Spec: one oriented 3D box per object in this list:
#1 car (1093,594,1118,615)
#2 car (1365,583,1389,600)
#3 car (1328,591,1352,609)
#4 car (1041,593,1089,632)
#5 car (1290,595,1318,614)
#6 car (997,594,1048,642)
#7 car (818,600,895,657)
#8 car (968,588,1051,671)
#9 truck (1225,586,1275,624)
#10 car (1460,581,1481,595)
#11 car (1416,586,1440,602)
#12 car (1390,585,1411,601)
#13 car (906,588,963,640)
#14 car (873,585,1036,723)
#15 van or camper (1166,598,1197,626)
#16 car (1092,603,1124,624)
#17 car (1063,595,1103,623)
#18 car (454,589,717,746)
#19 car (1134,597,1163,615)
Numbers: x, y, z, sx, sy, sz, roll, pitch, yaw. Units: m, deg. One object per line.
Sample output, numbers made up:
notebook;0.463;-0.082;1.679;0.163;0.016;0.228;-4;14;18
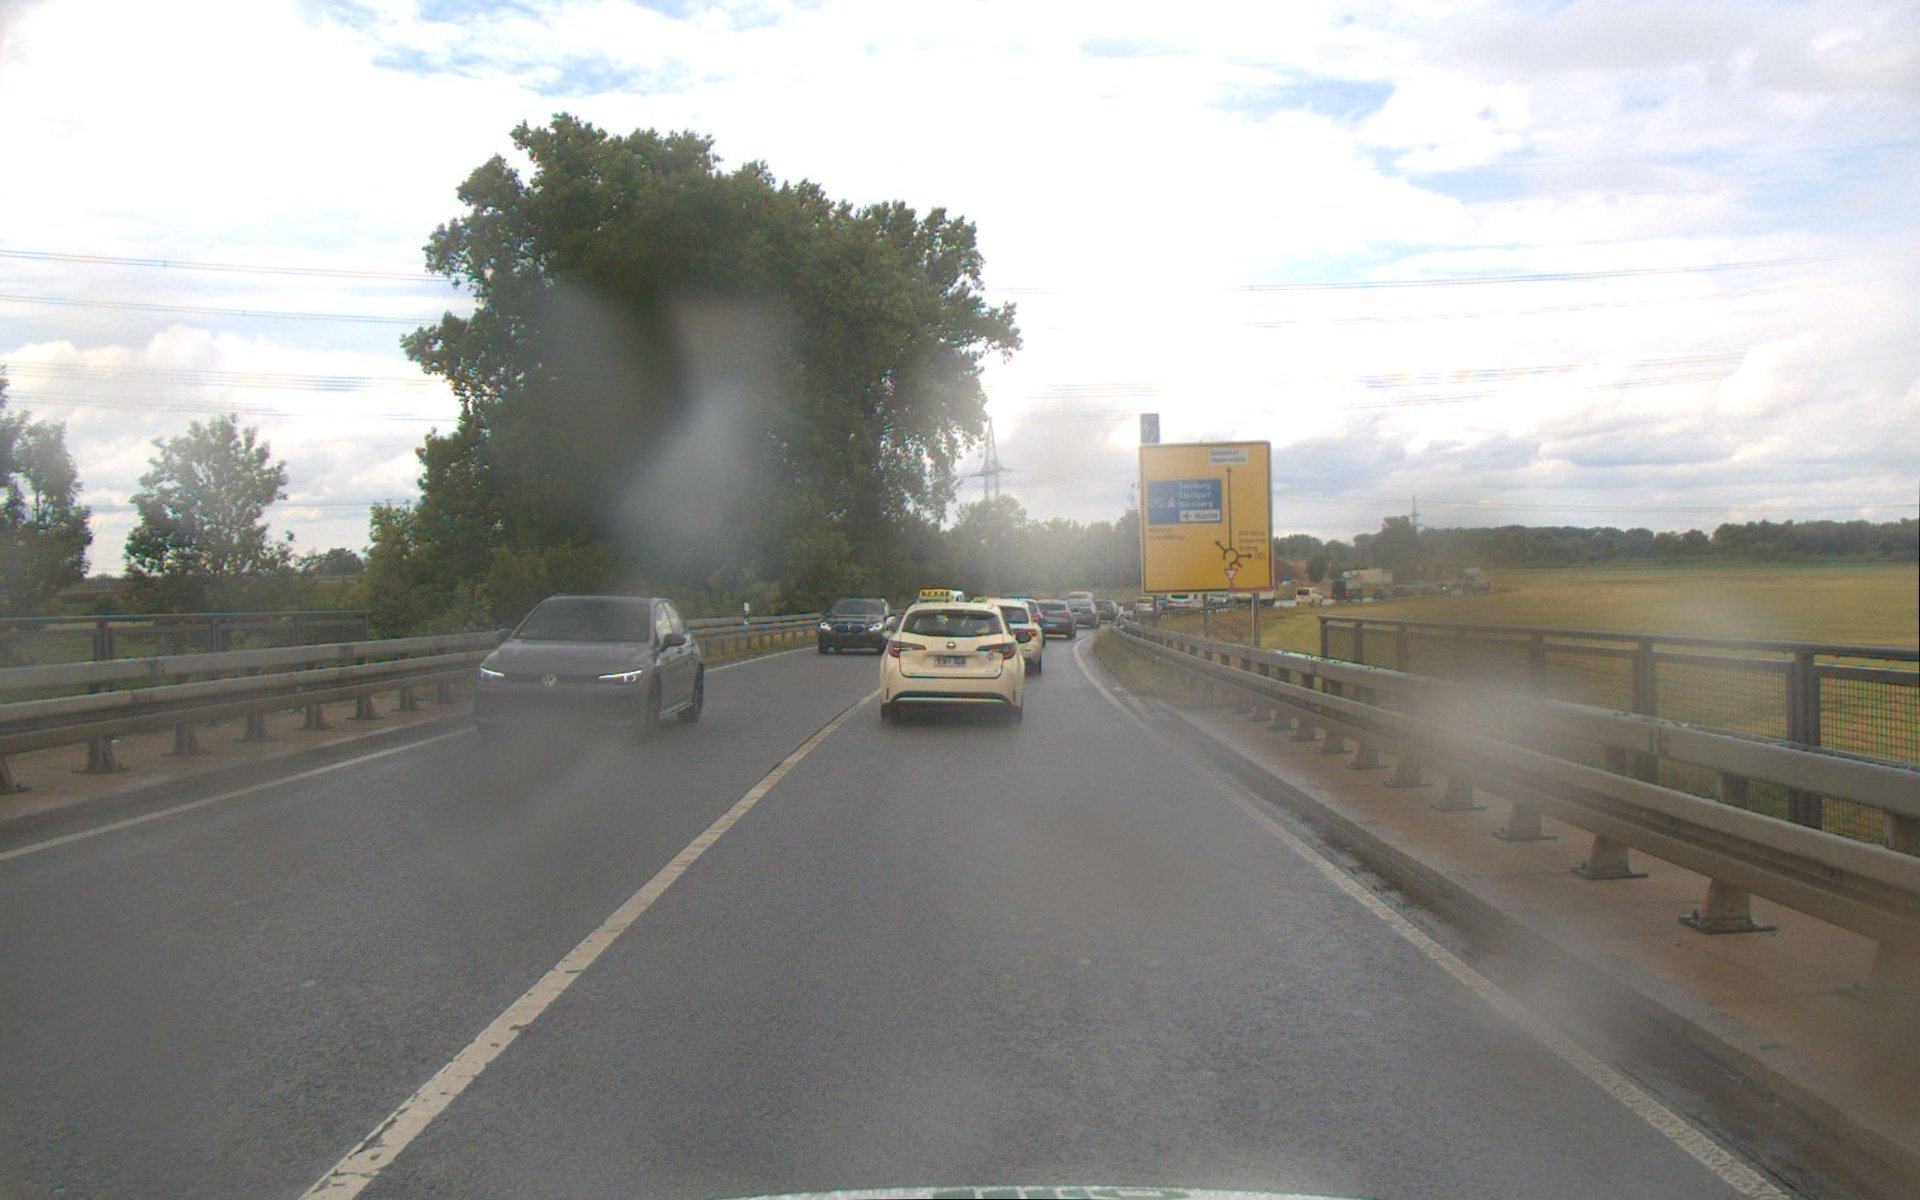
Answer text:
car;12.492;0.415;141.633;1.485;1.751;3.422;1;-1;17
car;52.926;-1.031;210.021;2.182;2.049;3.997;1;-1;25
car;45.378;0.015;197.512;1.954;2.049;3.996;1;-1;26
car;4.171;0.499;65.505;1.630;1.489;3.479;1;0;8
car;38.555;0.493;185.270;2.124;2.049;3.996;1;-1;26
car;1.974;0.555;52.834;1.475;1.462;3.355;1;0;0
car;-2.670;0.725;43.605;1.661;1.424;4.332;1;0;1
car;1.060;0.578;33.874;1.545;1.600;3.683;1;0;4
truck;28.905;0.534;164.656;3.077;3.624;7.517;1;-1;24
car;75.816;-1.791;245.575;1.734;2.049;3.981;1;1;38
car;64.252;-0.788;227.083;1.959;2.049;3.987;0;-1;34
car;57.837;-0.900;217.311;1.954;2.049;3.997;1;-1;25
car;-0.942;0.507;64.615;1.822;1.925;4.492;1;1;4
car;-0.104;0.625;21.146;1.867;1.564;4.160;1;0;-1
van or camper;18.390;1.009;137.140;1.951;2.293;4.003;1;-1;15
car;9.325;0.844;103.986;1.451;1.332;3.479;1;0;14
car;6.631;0.491;88.841;1.625;1.434;3.907;0;-1;11
car;-3.867;0.642;17.778;1.797;1.468;4.104;1;0;1
car;13.904;0.447;121.855;1.451;1.332;3.478;1;0;19
